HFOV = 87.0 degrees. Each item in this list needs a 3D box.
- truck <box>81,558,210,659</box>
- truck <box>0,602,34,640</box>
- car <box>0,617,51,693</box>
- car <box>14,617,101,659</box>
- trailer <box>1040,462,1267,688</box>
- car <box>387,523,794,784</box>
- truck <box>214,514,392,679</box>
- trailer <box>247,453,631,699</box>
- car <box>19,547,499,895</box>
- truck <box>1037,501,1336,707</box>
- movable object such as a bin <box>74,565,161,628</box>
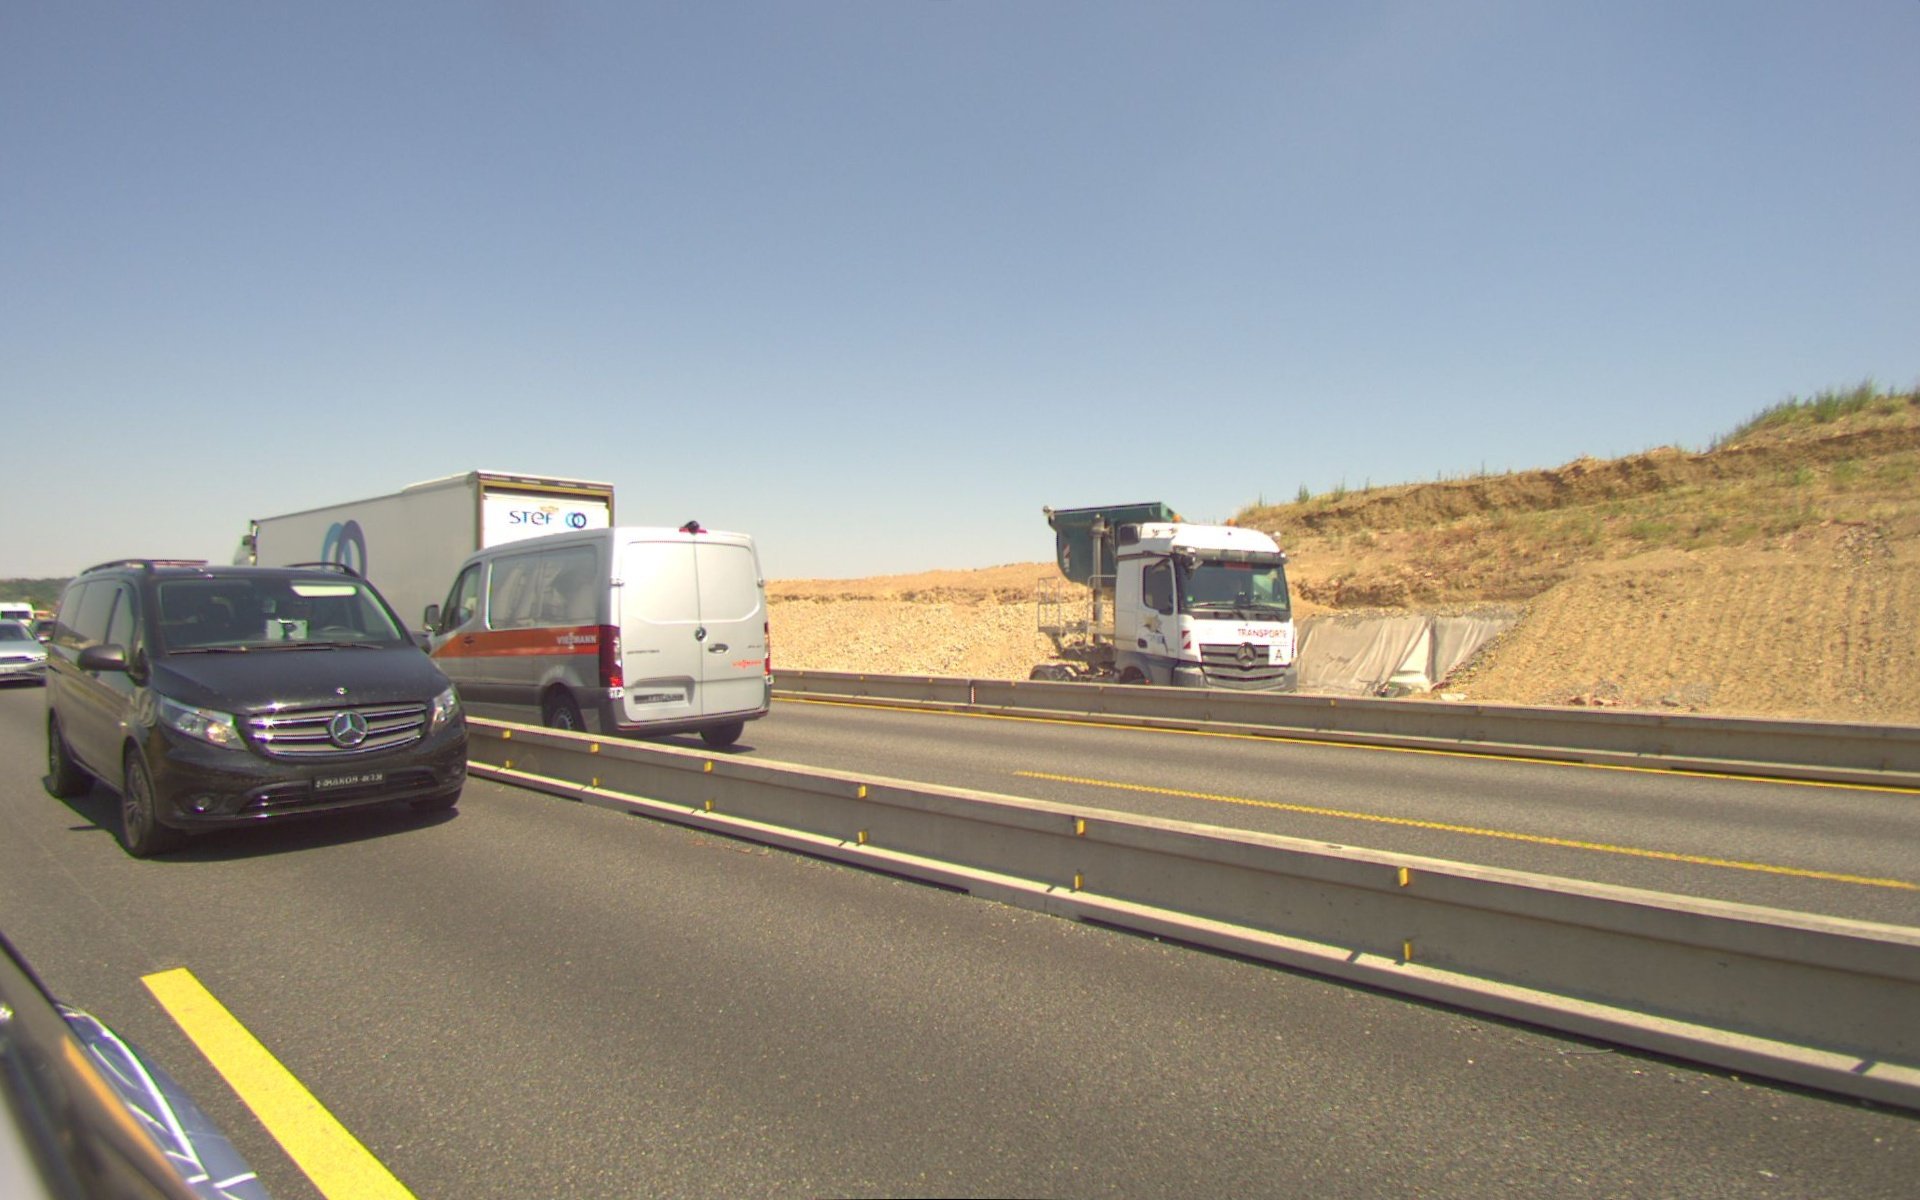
[{"bbox_3d":[-33.835,0.334,41.866,9.479,3.744,2.617,-1,0,42],"label":"truck"},{"bbox_3d":[-69.541,1.582,73.842,6.350,2.589,2.077,-3,-1,41],"label":"truck"},{"bbox_3d":[-21.220,1.183,21.932,4.098,1.519,1.781,-2,-1,41],"label":"car"},{"bbox_3d":[-34.641,1.418,38.792,4.497,1.453,1.839,-1,0,40],"label":"car"},{"bbox_3d":[4.712,-0.481,22.846,2.786,4.129,8.292,-1,0,27],"label":"trailer"},{"bbox_3d":[-4.377,0.485,11.439,5.340,2.309,1.973,-1,0,41],"label":"car"},{"bbox_3d":[-17.932,-0.041,27.559,4.857,4.049,2.819,-1,-2,41],"label":"truck"},{"bbox_3d":[-12.257,-0.326,22.545,13.647,4.125,2.824,-1,-2,42],"label":"trailer"},{"bbox_3d":[-5.778,0.691,7.953,5.476,1.865,1.854,-2,0,42],"label":"car"},{"bbox_3d":[3.639,0.050,17.486,2.542,2.986,5.079,-1,0,-23],"label":"truck"},{"bbox_3d":[-99.144,-0.445,119.132,4.080,7.167,7.283,-1,0,41],"label":"movable object such as a bin"}]
